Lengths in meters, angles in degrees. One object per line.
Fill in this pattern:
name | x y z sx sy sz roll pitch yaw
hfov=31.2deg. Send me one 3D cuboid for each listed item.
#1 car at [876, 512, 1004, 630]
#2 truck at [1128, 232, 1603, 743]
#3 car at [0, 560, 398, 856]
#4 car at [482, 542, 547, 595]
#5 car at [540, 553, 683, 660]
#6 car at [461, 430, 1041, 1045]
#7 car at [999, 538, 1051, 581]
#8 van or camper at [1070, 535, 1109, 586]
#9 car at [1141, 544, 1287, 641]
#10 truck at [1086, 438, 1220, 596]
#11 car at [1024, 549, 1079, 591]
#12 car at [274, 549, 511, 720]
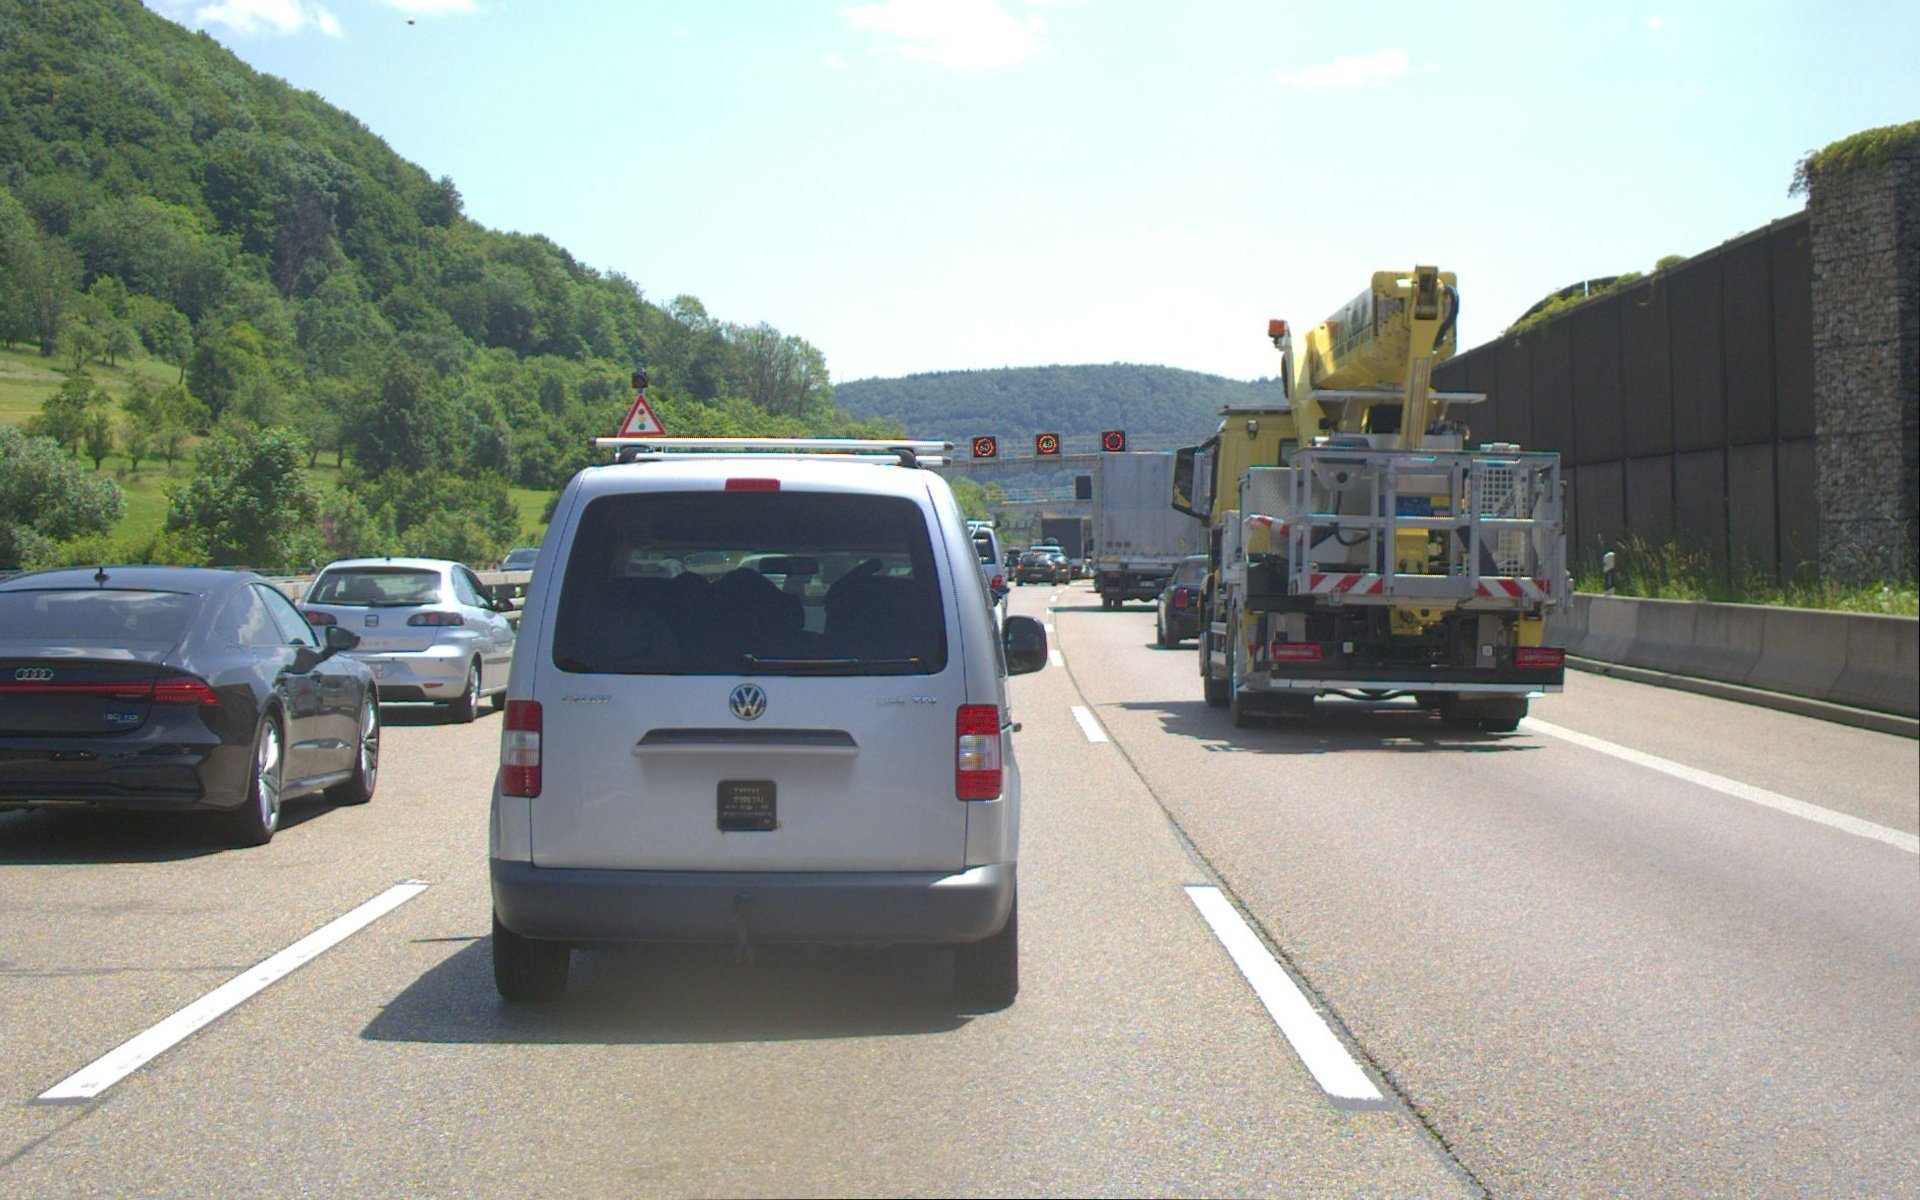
car | -0.381 -0.519 59.653 1.993 1.969 4.001 0 1 -4
truck | 3.344 -0.930 30.848 2.703 3.929 8.723 0 1 -4
car | -4.376 0.484 18.772 1.800 1.385 4.969 0 1 0
car | -17.030 -1.218 131.568 1.993 2.007 4.000 0 1 -1
car | -5.070 0.066 50.483 1.924 1.494 4.001 1 1 -4
car | -0.759 0.385 12.455 1.756 1.861 4.001 0 1 -4
car | 2.685 -1.673 143.155 1.993 1.743 4.000 1 0 -1
van or camper | 7.726 -2.347 205.942 1.993 2.943 5.423 1 0 -1
car | 3.954 -0.142 53.994 1.786 1.453 3.771 0 1 -4
truck | 4.831 -2.039 87.587 2.940 3.810 8.236 1 0 0
car | 4.090 -1.350 154.297 2.114 1.821 4.001 1 0 -4
car | -5.035 0.261 30.923 1.695 1.440 3.862 0 1 -3
